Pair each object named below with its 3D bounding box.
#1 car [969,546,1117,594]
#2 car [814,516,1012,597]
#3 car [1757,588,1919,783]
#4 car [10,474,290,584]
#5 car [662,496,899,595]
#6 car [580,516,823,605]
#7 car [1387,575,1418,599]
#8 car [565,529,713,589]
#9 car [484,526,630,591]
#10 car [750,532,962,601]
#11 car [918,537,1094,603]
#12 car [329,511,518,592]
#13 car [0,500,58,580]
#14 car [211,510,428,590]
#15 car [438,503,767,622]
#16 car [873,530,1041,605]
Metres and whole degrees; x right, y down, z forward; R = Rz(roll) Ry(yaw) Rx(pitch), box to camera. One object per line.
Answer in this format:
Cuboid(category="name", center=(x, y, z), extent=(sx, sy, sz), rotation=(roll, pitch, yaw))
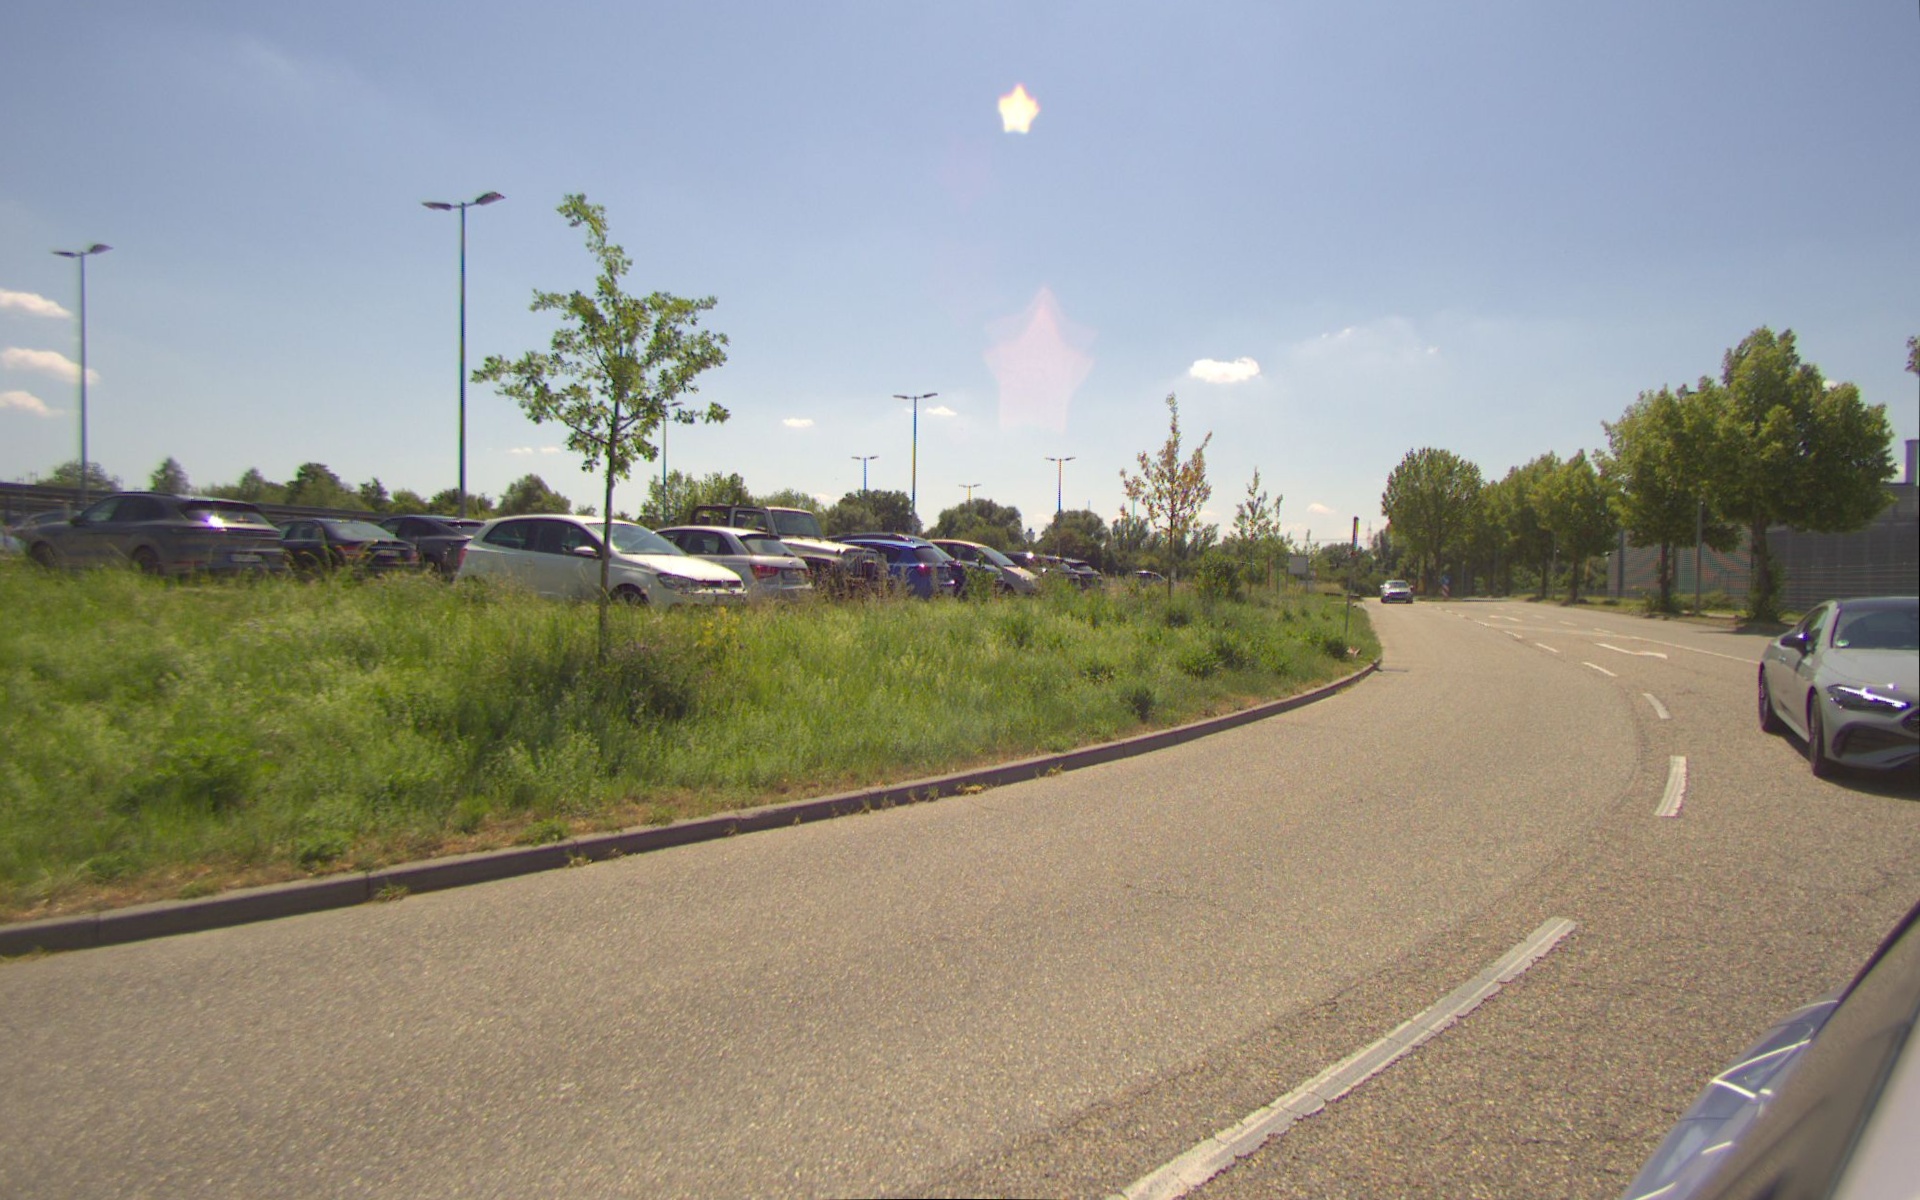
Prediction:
Cuboid(category="car", center=(2.449, -0.873, 29.714), extent=(3.955, 1.307, 1.895), rotation=(0, 2, 23))
Cuboid(category="car", center=(-1.035, -0.930, 22.333), extent=(3.988, 1.447, 1.677), rotation=(-3, 1, 20))
Cuboid(category="car", center=(8.551, 0.603, 8.969), extent=(1.885, 1.400, 4.579), rotation=(1, 1, 33))
Cuboid(category="car", center=(-14.066, -1.138, 17.575), extent=(4.547, 1.711, 1.765), rotation=(0, 0, 21))
Cuboid(category="car", center=(-3.115, -0.965, 17.550), extent=(3.712, 1.545, 1.860), rotation=(2, 4, 27))
Cuboid(category="car", center=(-3.798, -0.614, 14.903), extent=(3.232, 1.196, 1.491), rotation=(2, 3, 22))
Cuboid(category="car", center=(27.979, -0.861, 64.083), extent=(1.654, 1.392, 4.464), rotation=(-1, 1, 22))
Cuboid(category="car", center=(-9.323, -1.182, 29.434), extent=(3.829, 1.619, 1.730), rotation=(0, 2, 19))
Cuboid(category="car", center=(-10.589, -1.066, 26.609), extent=(3.375, 1.593, 1.514), rotation=(0, 2, 19))
Cuboid(category="car", center=(-2.043, -0.706, 20.018), extent=(3.896, 1.272, 1.577), rotation=(1, 3, 19))
Cuboid(category="car", center=(1.229, -0.827, 27.106), extent=(4.350, 1.564, 1.803), rotation=(3, 2, 21))
Cuboid(category="car", center=(-11.874, -1.089, 22.420), extent=(3.595, 1.617, 1.758), rotation=(3, 2, 21))
Cuboid(category="car", center=(-19.196, -1.168, 19.035), extent=(3.587, 1.463, 1.646), rotation=(2, 2, 15))
Cuboid(category="car", center=(-12.542, -0.994, 19.832), extent=(3.802, 1.379, 1.642), rotation=(3, 3, 21))
Cuboid(category="car", center=(-4.444, -0.508, 12.588), extent=(3.834, 1.313, 1.563), rotation=(2, 4, 23))
Cuboid(category="car", center=(-0.065, -0.817, 24.957), extent=(3.801, 1.644, 1.607), rotation=(3, 2, 20))
